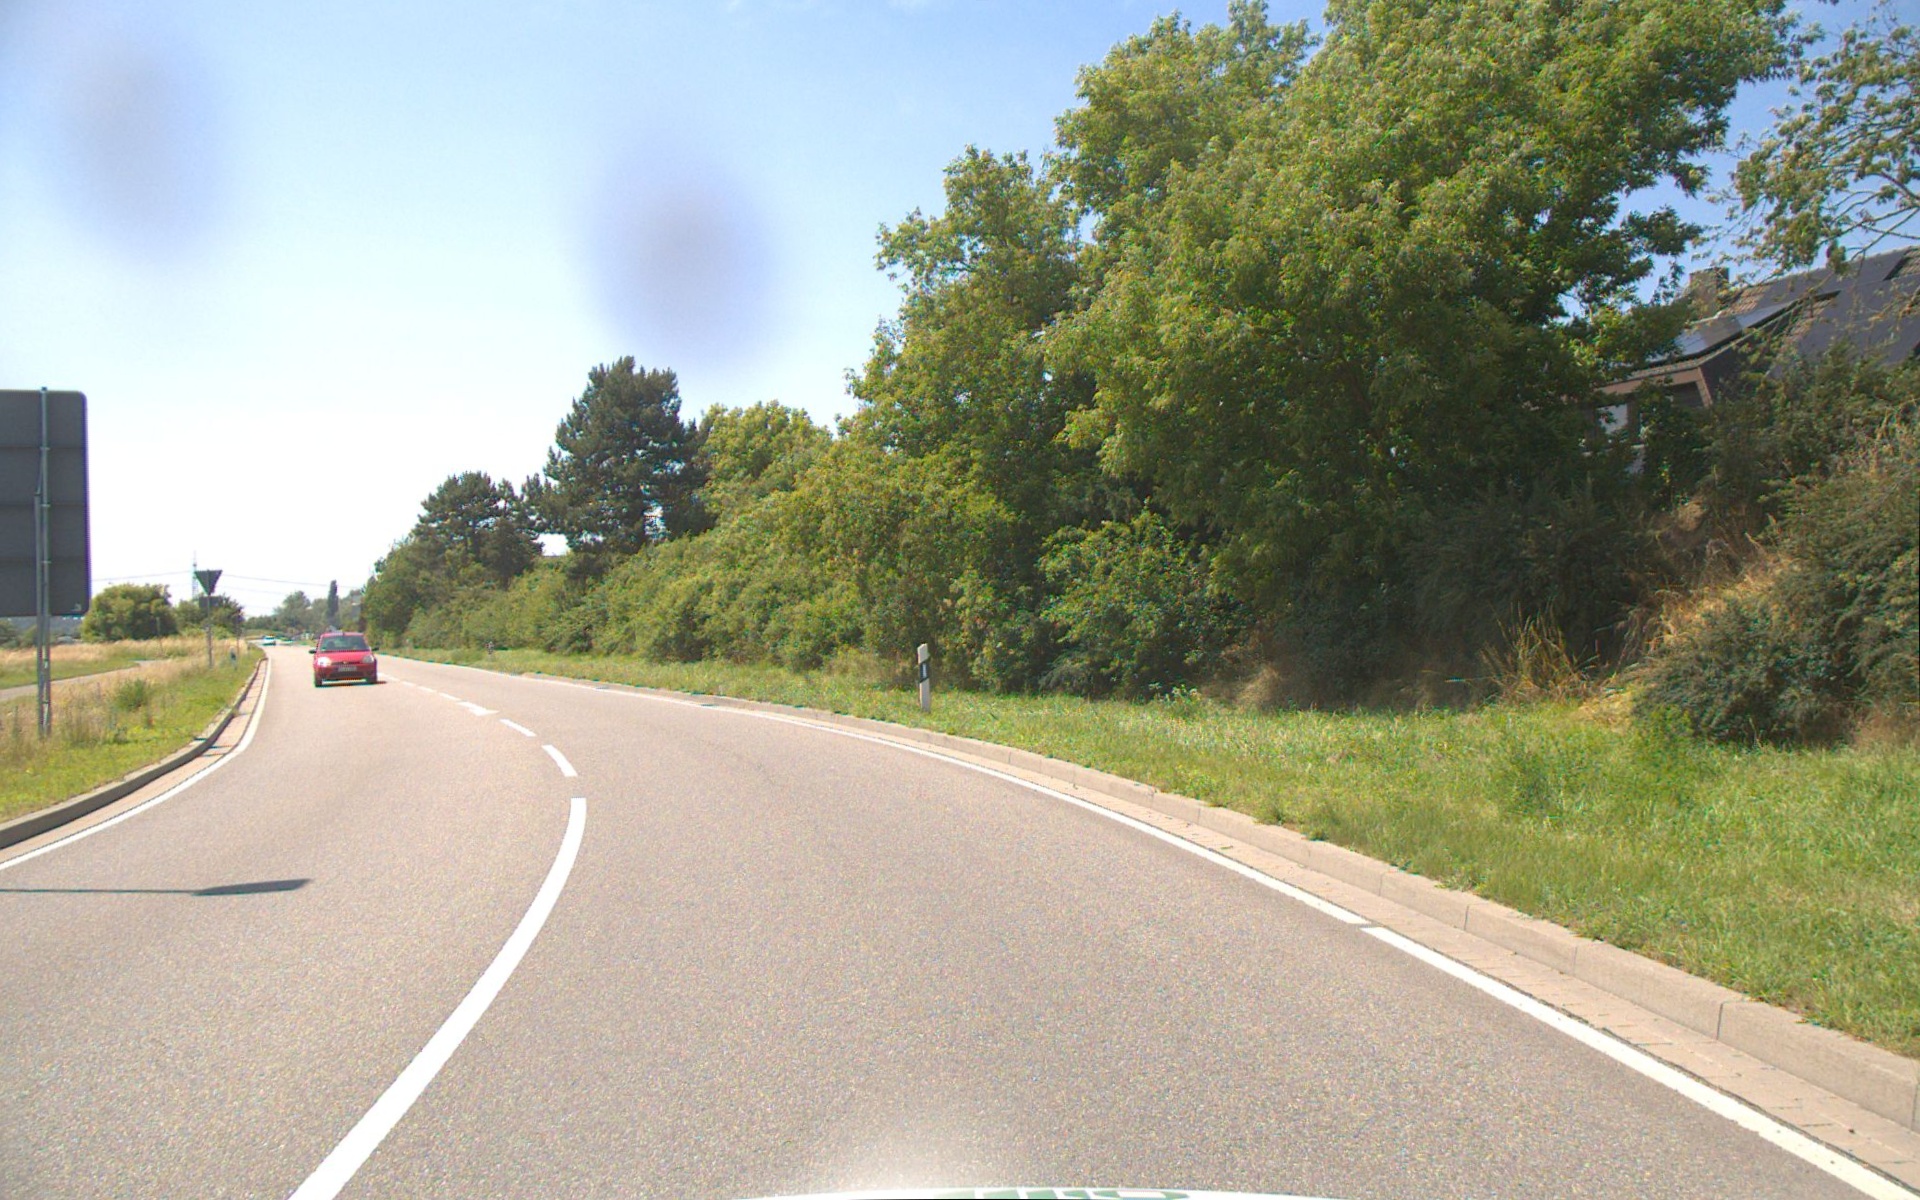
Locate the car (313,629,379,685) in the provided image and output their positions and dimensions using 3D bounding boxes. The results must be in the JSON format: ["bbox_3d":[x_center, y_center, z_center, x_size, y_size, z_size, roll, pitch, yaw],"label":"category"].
[{"bbox_3d":[-17.539,1.595,47.221,1.632,1.458,3.712,-3,0,-21],"label":"car"}]
